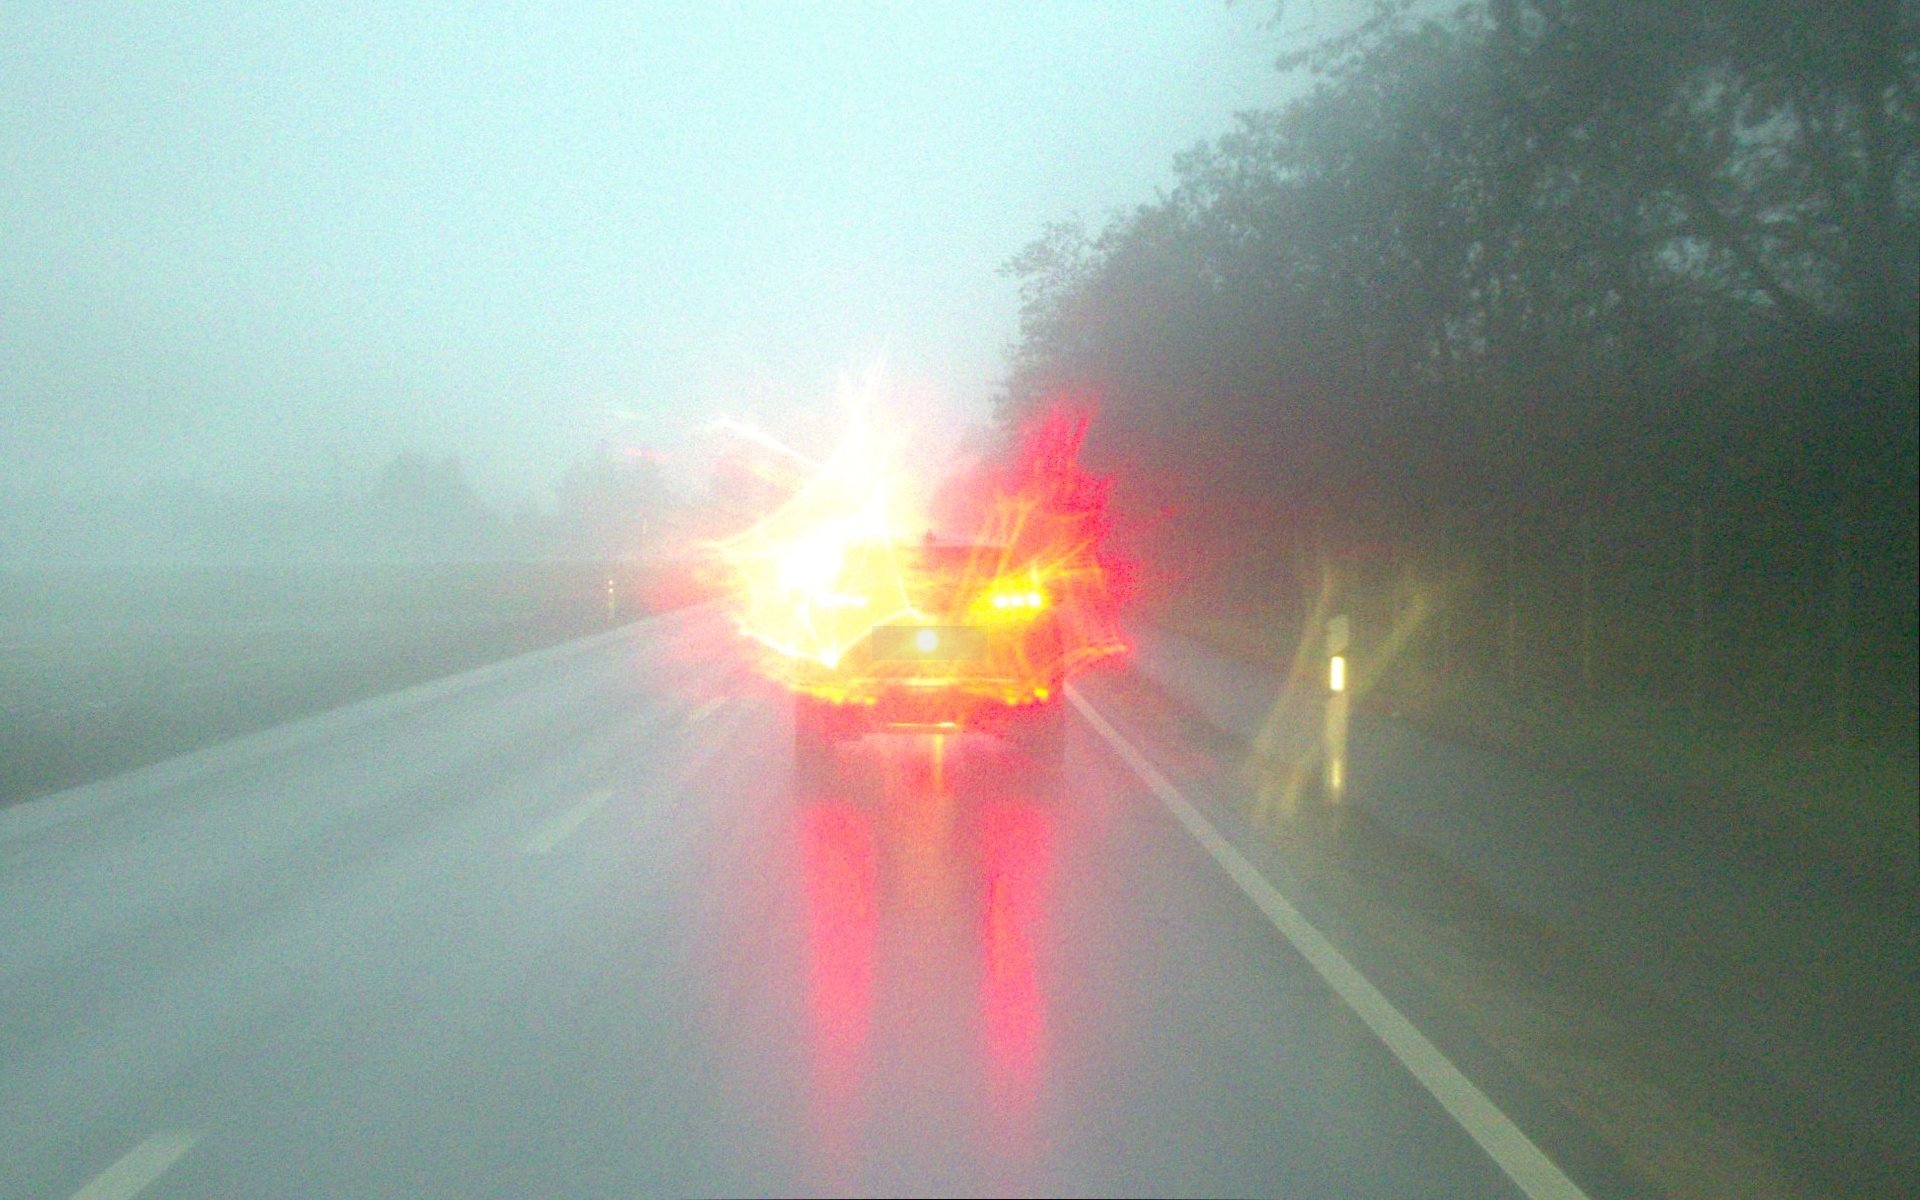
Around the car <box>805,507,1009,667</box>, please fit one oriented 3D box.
[{"bbox_3d":[-0.680,-0.206,47.123,2.592,2.007,5.804,1,1,0],"label":"car"}]

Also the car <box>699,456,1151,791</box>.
[{"bbox_3d":[-0.214,0.109,24.606,2.820,2.070,5.804,1,1,0],"label":"car"}]
